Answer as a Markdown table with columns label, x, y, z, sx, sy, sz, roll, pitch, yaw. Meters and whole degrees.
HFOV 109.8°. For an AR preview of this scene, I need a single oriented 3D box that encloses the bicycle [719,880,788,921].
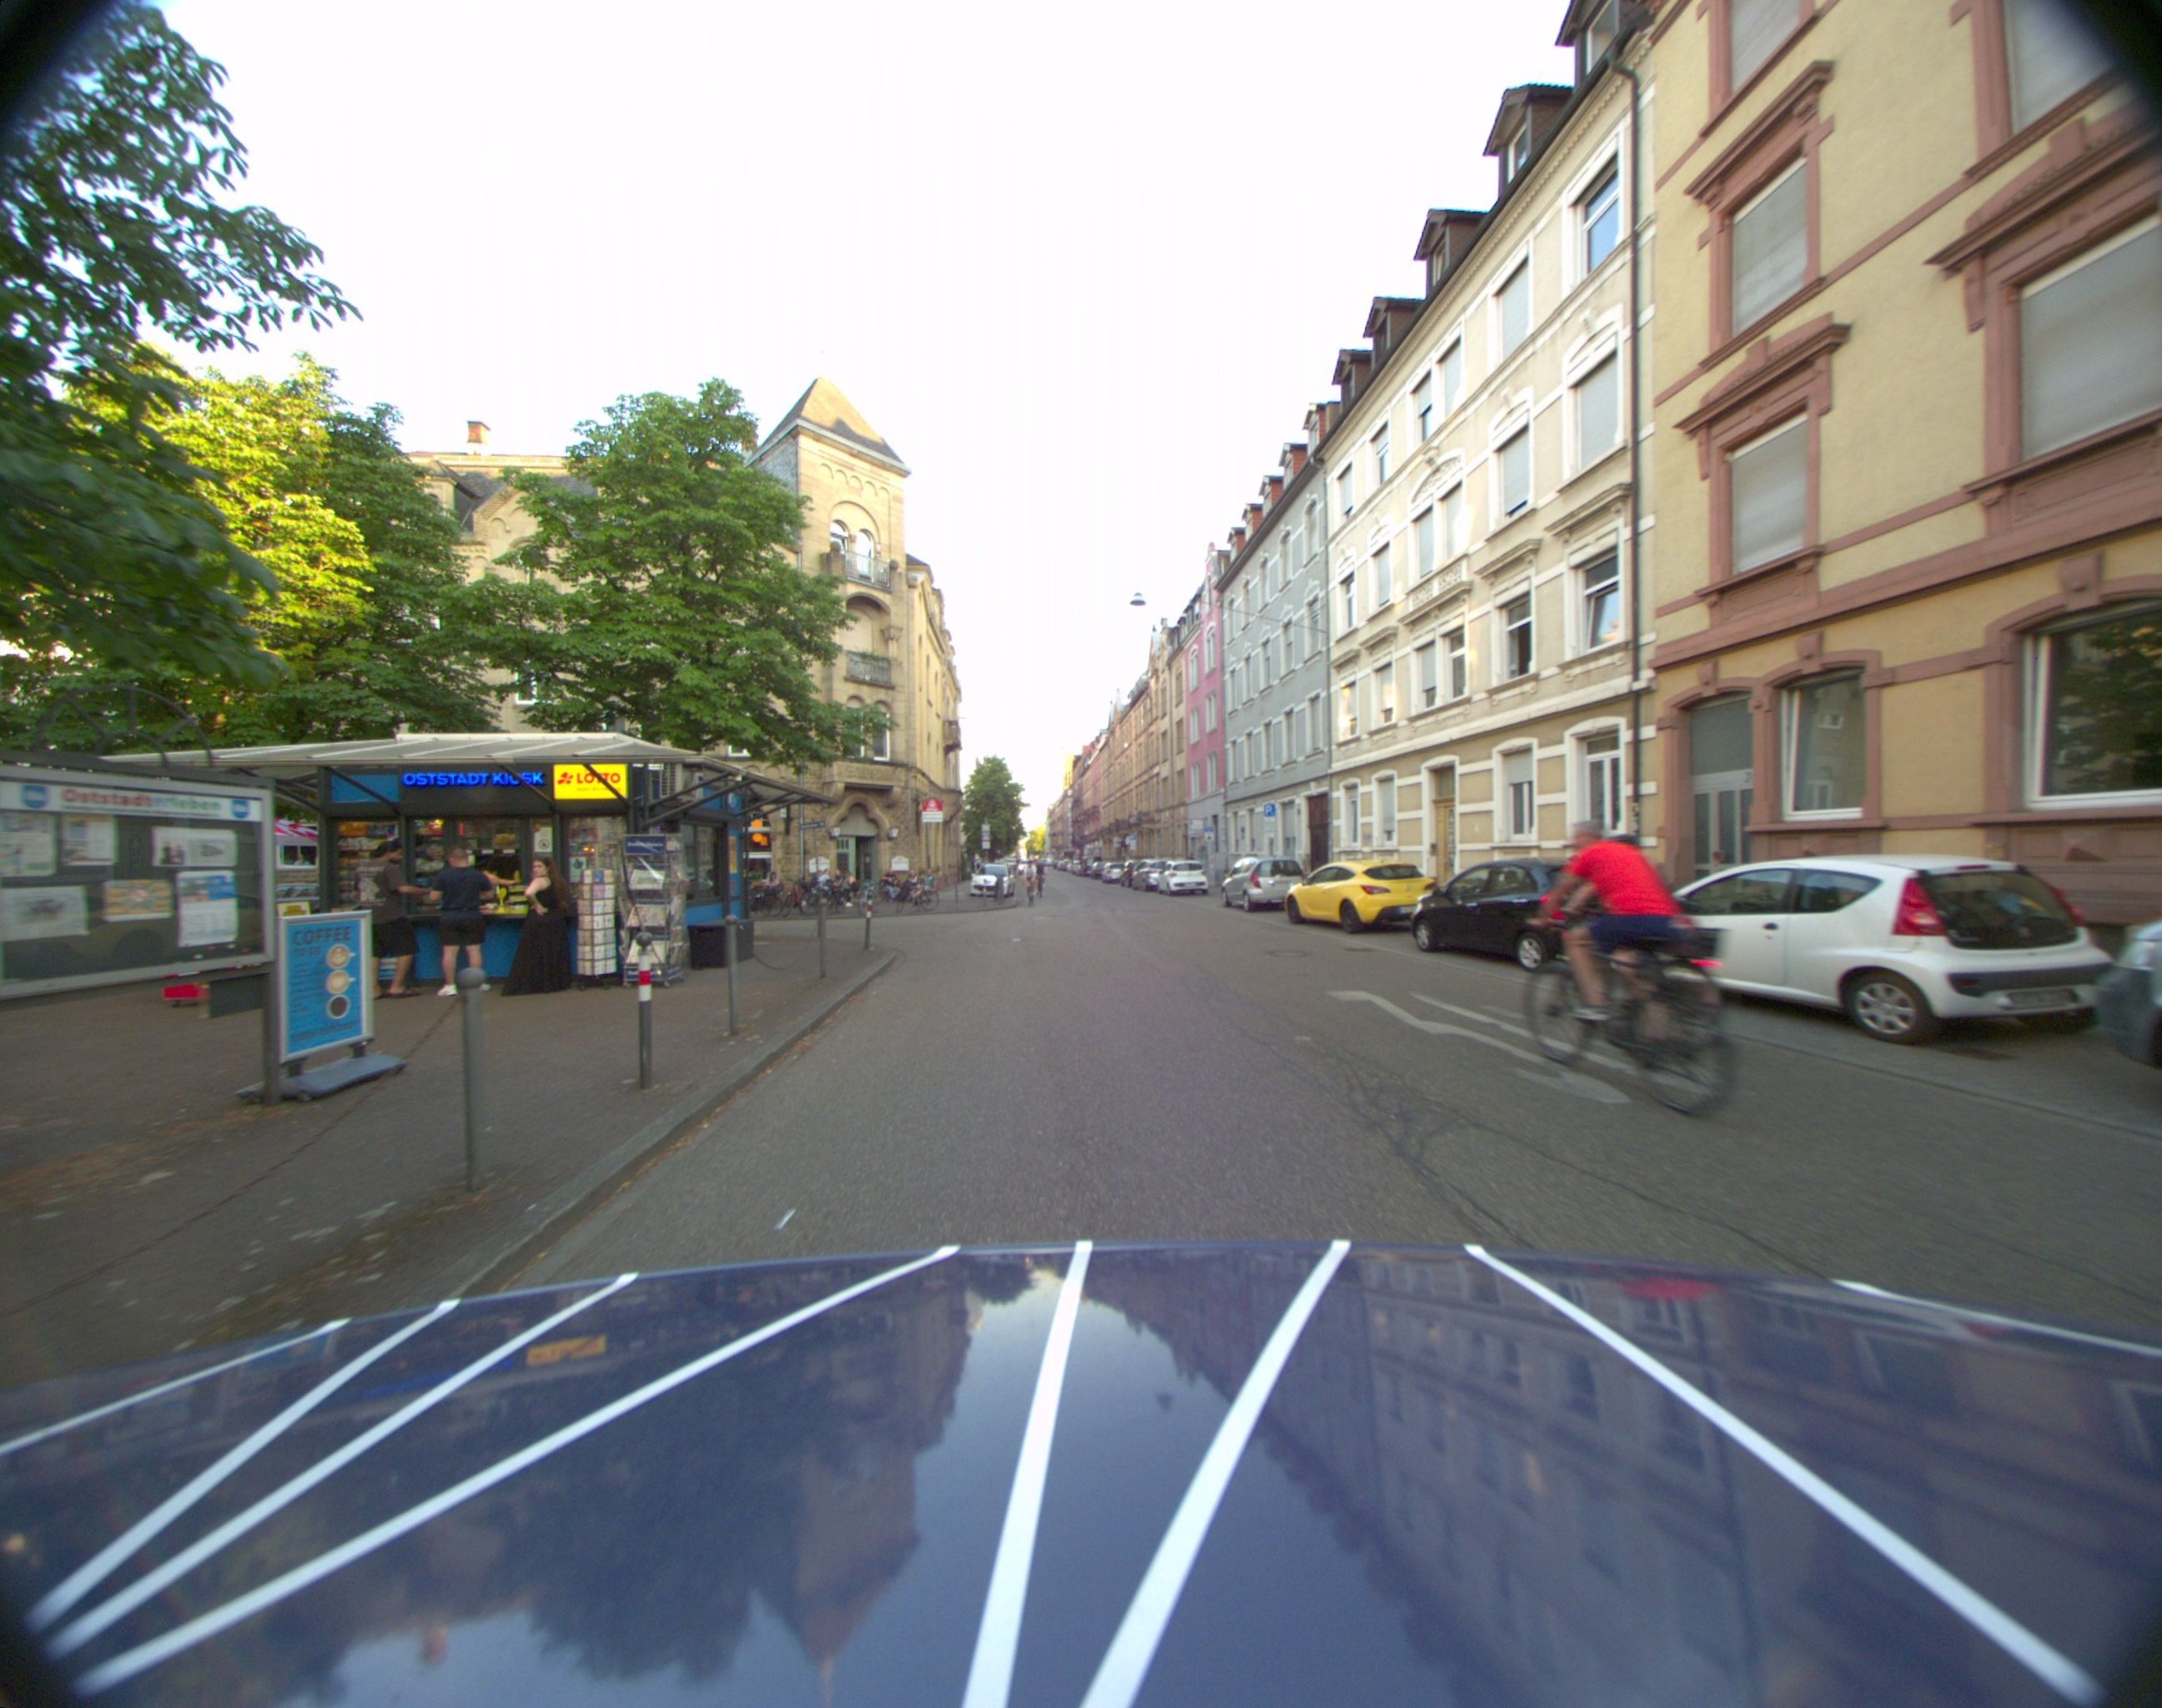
| label | x | y | z | sx | sy | sz | roll | pitch | yaw |
| --- | --- | --- | --- | --- | --- | --- | --- | --- | --- |
| bicycle | -9.751 | 1.380 | 22.698 | 1.836 | 1.144 | 0.557 | -1 | 0 | -18 |

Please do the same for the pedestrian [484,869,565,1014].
| label | x | y | z | sx | sy | sz | roll | pitch | yaw |
| --- | --- | --- | --- | --- | --- | --- | --- | --- | --- |
| pedestrian | -6.235 | 0.940 | 8.545 | 0.679 | 1.530 | 0.589 | -1 | 1 | -35 |

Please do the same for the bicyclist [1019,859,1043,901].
| label | x | y | z | sx | sy | sz | roll | pitch | yaw |
| --- | --- | --- | --- | --- | --- | --- | --- | --- | --- |
| bicyclist | -1.830 | 0.939 | 27.946 | 0.685 | 1.503 | 0.973 | -1 | 0 | 5 |

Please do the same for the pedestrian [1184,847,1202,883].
| label | x | y | z | sx | sy | sz | roll | pitch | yaw |
| --- | --- | --- | --- | --- | --- | --- | --- | --- | --- |
| pedestrian | 6.202 | 0.614 | 41.991 | 0.851 | 1.937 | 0.833 | -1 | 0 | -1 |

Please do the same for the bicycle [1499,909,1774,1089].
| label | x | y | z | sx | sy | sz | roll | pitch | yaw |
| --- | --- | --- | --- | --- | --- | --- | --- | --- | --- |
| bicycle | 4.456 | 1.086 | 6.337 | 0.723 | 1.101 | 2.014 | -1 | 0 | -4 |

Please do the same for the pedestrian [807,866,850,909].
| label | x | y | z | sx | sy | sz | roll | pitch | yaw |
| --- | --- | --- | --- | --- | --- | --- | --- | --- | --- |
| pedestrian | -8.739 | 1.133 | 26.338 | 0.839 | 1.389 | 1.106 | 1 | 2 | 37 |

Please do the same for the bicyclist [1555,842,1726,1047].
| label | x | y | z | sx | sy | sz | roll | pitch | yaw |
| --- | --- | --- | --- | --- | --- | --- | --- | --- | --- |
| bicyclist | 4.463 | 0.674 | 6.121 | 0.715 | 1.517 | 0.867 | -1 | 0 | -4 |

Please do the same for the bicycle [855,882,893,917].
| label | x | y | z | sx | sy | sz | roll | pitch | yaw |
| --- | --- | --- | --- | --- | --- | --- | --- | --- | --- |
| bicycle | -6.398 | 1.382 | 23.572 | 0.447 | 0.974 | 1.707 | -1 | 0 | 9 |

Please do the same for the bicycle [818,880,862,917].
| label | x | y | z | sx | sy | sz | roll | pitch | yaw |
| --- | --- | --- | --- | --- | --- | --- | --- | --- | --- |
| bicycle | -7.466 | 1.364 | 23.599 | 0.513 | 1.060 | 1.836 | -1 | 0 | 9 |

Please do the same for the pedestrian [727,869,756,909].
| label | x | y | z | sx | sy | sz | roll | pitch | yaw |
| --- | --- | --- | --- | --- | --- | --- | --- | --- | --- |
| pedestrian | -11.724 | 1.198 | 26.275 | 0.731 | 1.313 | 0.667 | -1 | 0 | -8 |

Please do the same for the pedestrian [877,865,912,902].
| label | x | y | z | sx | sy | sz | roll | pitch | yaw |
| --- | --- | --- | --- | --- | --- | --- | --- | --- | --- |
| pedestrian | -7.138 | 1.133 | 29.093 | 1.009 | 1.388 | 0.899 | -1 | -2 | 43 |

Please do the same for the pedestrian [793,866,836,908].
| label | x | y | z | sx | sy | sz | roll | pitch | yaw |
| --- | --- | --- | --- | --- | --- | --- | --- | --- | --- |
| pedestrian | -9.389 | 1.135 | 26.755 | 0.839 | 1.389 | 1.106 | 1 | 2 | 37 |

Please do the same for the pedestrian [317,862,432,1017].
| label | x | y | z | sx | sy | sz | roll | pitch | yaw |
| --- | --- | --- | --- | --- | --- | --- | --- | --- | --- |
| pedestrian | -7.771 | 0.912 | 8.386 | 0.678 | 1.628 | 0.590 | -1 | 1 | -5 |

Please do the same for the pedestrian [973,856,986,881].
| label | x | y | z | sx | sy | sz | roll | pitch | yaw |
| --- | --- | --- | --- | --- | --- | --- | --- | --- | --- |
| pedestrian | -7.159 | 0.992 | 53.593 | 0.851 | 1.756 | 0.833 | 0 | 0 | -1 |

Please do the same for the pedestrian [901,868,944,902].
| label | x | y | z | sx | sy | sz | roll | pitch | yaw |
| --- | --- | --- | --- | --- | --- | --- | --- | --- | --- |
| pedestrian | -6.109 | 1.179 | 29.294 | 0.839 | 1.278 | 1.422 | 1 | 1 | 43 |

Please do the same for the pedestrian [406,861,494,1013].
| label | x | y | z | sx | sy | sz | roll | pitch | yaw |
| --- | --- | --- | --- | --- | --- | --- | --- | --- | --- |
| pedestrian | -7.100 | 0.896 | 8.583 | 0.679 | 1.628 | 0.589 | -1 | 1 | -35 |

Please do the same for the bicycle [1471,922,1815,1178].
| label | x | y | z | sx | sy | sz | roll | pitch | yaw |
| --- | --- | --- | --- | --- | --- | --- | --- | --- | --- |
| bicycle | 3.366 | 1.083 | 4.852 | 0.651 | 1.101 | 2.014 | -1 | 0 | -2 |

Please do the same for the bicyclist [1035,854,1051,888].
| label | x | y | z | sx | sy | sz | roll | pitch | yaw |
| --- | --- | --- | --- | --- | --- | --- | --- | --- | --- |
| bicyclist | -1.751 | 0.767 | 34.998 | 0.686 | 1.503 | 0.972 | -1 | 0 | -4 |

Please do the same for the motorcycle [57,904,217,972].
| label | x | y | z | sx | sy | sz | roll | pitch | yaw |
| --- | --- | --- | --- | --- | --- | --- | --- | --- | --- |
| motorcycle | -15.848 | 1.397 | 12.783 | 1.832 | 1.048 | 0.579 | -1 | 1 | -3 |

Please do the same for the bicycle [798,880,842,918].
| label | x | y | z | sx | sy | sz | roll | pitch | yaw |
| --- | --- | --- | --- | --- | --- | --- | --- | --- | --- |
| bicycle | -7.996 | 1.371 | 23.361 | 0.475 | 1.064 | 1.836 | -1 | 0 | 9 |

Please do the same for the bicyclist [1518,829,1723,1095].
| label | x | y | z | sx | sy | sz | roll | pitch | yaw |
| --- | --- | --- | --- | --- | --- | --- | --- | --- | --- |
| bicyclist | 3.353 | 0.622 | 4.804 | 0.654 | 1.517 | 0.867 | -1 | 0 | -2 |

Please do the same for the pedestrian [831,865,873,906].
| label | x | y | z | sx | sy | sz | roll | pitch | yaw |
| --- | --- | --- | --- | --- | --- | --- | --- | --- | --- |
| pedestrian | -8.159 | 1.103 | 27.122 | 0.839 | 1.389 | 1.106 | 1 | 2 | 36 |

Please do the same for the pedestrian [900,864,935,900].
| label | x | y | z | sx | sy | sz | roll | pitch | yaw |
| --- | --- | --- | --- | --- | --- | --- | --- | --- | --- |
| pedestrian | -6.461 | 1.101 | 30.038 | 0.839 | 1.388 | 1.106 | 1 | -1 | 22 |

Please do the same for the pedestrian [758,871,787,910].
| label | x | y | z | sx | sy | sz | roll | pitch | yaw |
| --- | --- | --- | --- | --- | --- | --- | --- | --- | --- |
| pedestrian | -10.609 | 1.242 | 26.178 | 0.706 | 1.275 | 0.877 | -1 | 0 | -9 |

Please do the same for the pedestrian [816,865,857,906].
| label | x | y | z | sx | sy | sz | roll | pitch | yaw |
| --- | --- | --- | --- | --- | --- | --- | --- | --- | --- |
| pedestrian | -8.852 | 1.127 | 27.557 | 0.839 | 1.389 | 1.106 | 1 | 2 | 36 |

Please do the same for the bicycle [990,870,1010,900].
| label | x | y | z | sx | sy | sz | roll | pitch | yaw |
| --- | --- | --- | --- | --- | --- | --- | --- | --- | --- |
| bicycle | -3.290 | 1.245 | 31.081 | 0.686 | 1.144 | 2.114 | 2 | 0 | -3 |

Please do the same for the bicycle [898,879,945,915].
| label | x | y | z | sx | sy | sz | roll | pitch | yaw |
| --- | --- | --- | --- | --- | --- | --- | --- | --- | --- |
| bicycle | -5.086 | 1.360 | 24.282 | 0.431 | 1.033 | 1.478 | 0 | 1 | 45 |

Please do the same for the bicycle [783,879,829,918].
| label | x | y | z | sx | sy | sz | roll | pitch | yaw |
| --- | --- | --- | --- | --- | --- | --- | --- | --- | --- |
| bicycle | -8.500 | 1.355 | 23.565 | 0.502 | 1.105 | 1.836 | -1 | 0 | 9 |

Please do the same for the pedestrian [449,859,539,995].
| label | x | y | z | sx | sy | sz | roll | pitch | yaw |
| --- | --- | --- | --- | --- | --- | --- | --- | --- | --- |
| pedestrian | -7.356 | 0.885 | 9.550 | 0.678 | 1.628 | 0.590 | -1 | 1 | -12 |

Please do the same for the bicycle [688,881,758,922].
| label | x | y | z | sx | sy | sz | roll | pitch | yaw |
| --- | --- | --- | --- | --- | --- | --- | --- | --- | --- |
| bicycle | -10.789 | 1.425 | 22.980 | 1.836 | 1.154 | 0.538 | -1 | 0 | -18 |
